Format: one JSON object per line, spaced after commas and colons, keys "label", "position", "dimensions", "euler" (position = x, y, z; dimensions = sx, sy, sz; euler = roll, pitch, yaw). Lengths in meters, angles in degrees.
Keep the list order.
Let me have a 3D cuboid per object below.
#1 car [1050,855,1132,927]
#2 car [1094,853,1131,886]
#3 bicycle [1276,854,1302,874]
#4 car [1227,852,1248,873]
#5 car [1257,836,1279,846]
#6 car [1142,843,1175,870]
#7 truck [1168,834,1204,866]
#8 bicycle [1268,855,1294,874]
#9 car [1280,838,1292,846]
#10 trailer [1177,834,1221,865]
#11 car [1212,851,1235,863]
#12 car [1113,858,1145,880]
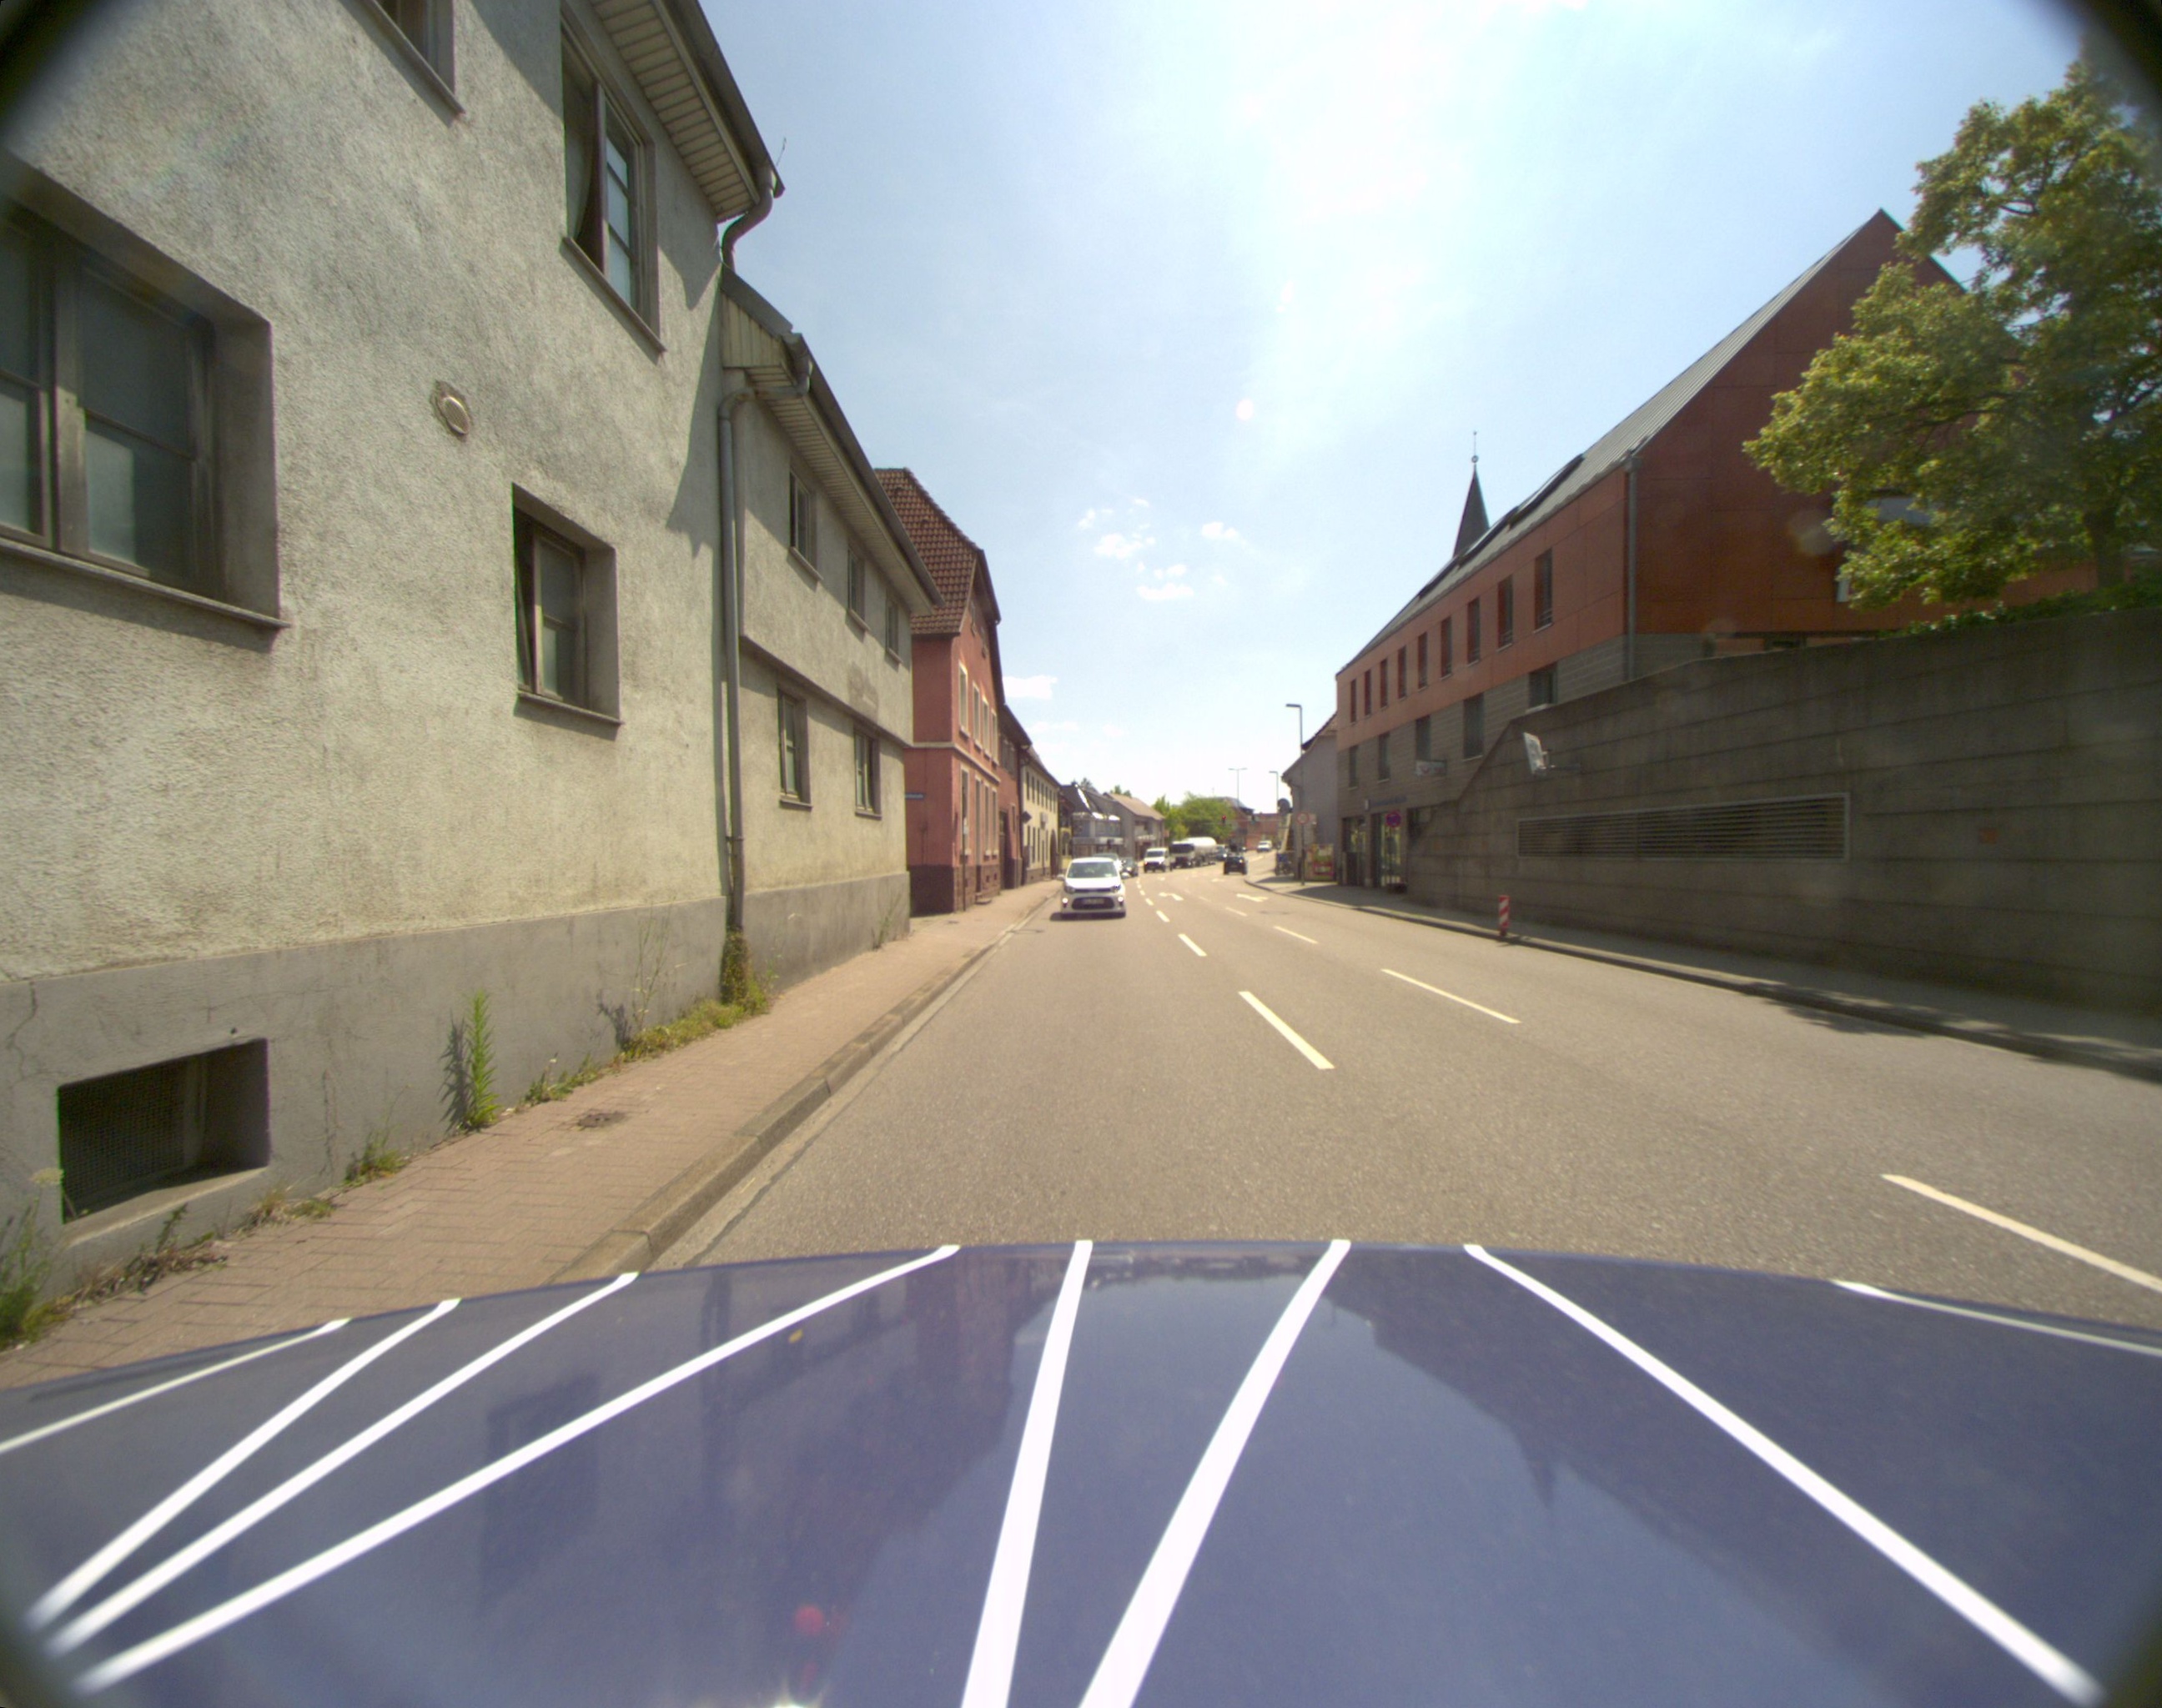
{"label": "car", "position": [0.377, 0.855, 19.554], "dimensions": [1.724, 1.541, 4.304], "euler": [-2, 0, 5]}
{"label": "car", "position": [1.667, 0.752, 39.449], "dimensions": [1.724, 1.541, 4.304], "euler": [-2, 0, 3]}
{"label": "bicycle", "position": [14.118, 0.705, 51.561], "dimensions": [1.834, 1.241, 0.577], "euler": [-3, -1, -34]}
{"label": "car", "position": [12.924, 0.684, 62.820], "dimensions": [1.672, 1.648, 4.021], "euler": [-1, 0, 11]}
{"label": "car", "position": [31.876, -2.200, 129.696], "dimensions": [2.007, 1.621, 4.587], "euler": [0, 0, 36]}
{"label": "car", "position": [7.554, 0.219, 73.683], "dimensions": [2.172, 2.549, 4.830], "euler": [-1, 0, 18]}
{"label": "truck", "position": [12.042, -0.434, 86.910], "dimensions": [2.843, 3.549, 5.477], "euler": [0, 0, 22]}
{"label": "bicycle", "position": [13.700, 0.716, 52.060], "dimensions": [1.834, 1.241, 0.577], "euler": [-3, -1, -34]}
{"label": "car", "position": [42.558, -2.388, 157.448], "dimensions": [2.008, 1.621, 4.584], "euler": [-1, 0, 20]}
{"label": "trailer", "position": [14.660, -0.506, 93.353], "dimensions": [2.833, 3.549, 10.982], "euler": [0, 0, 23]}
{"label": "car", "position": [19.684, 0.389, 104.785], "dimensions": [2.008, 1.621, 4.586], "euler": [0, 0, 26]}
{"label": "car", "position": [3.495, 1.065, 54.968], "dimensions": [1.928, 1.358, 4.305], "euler": [-2, 0, 8]}
